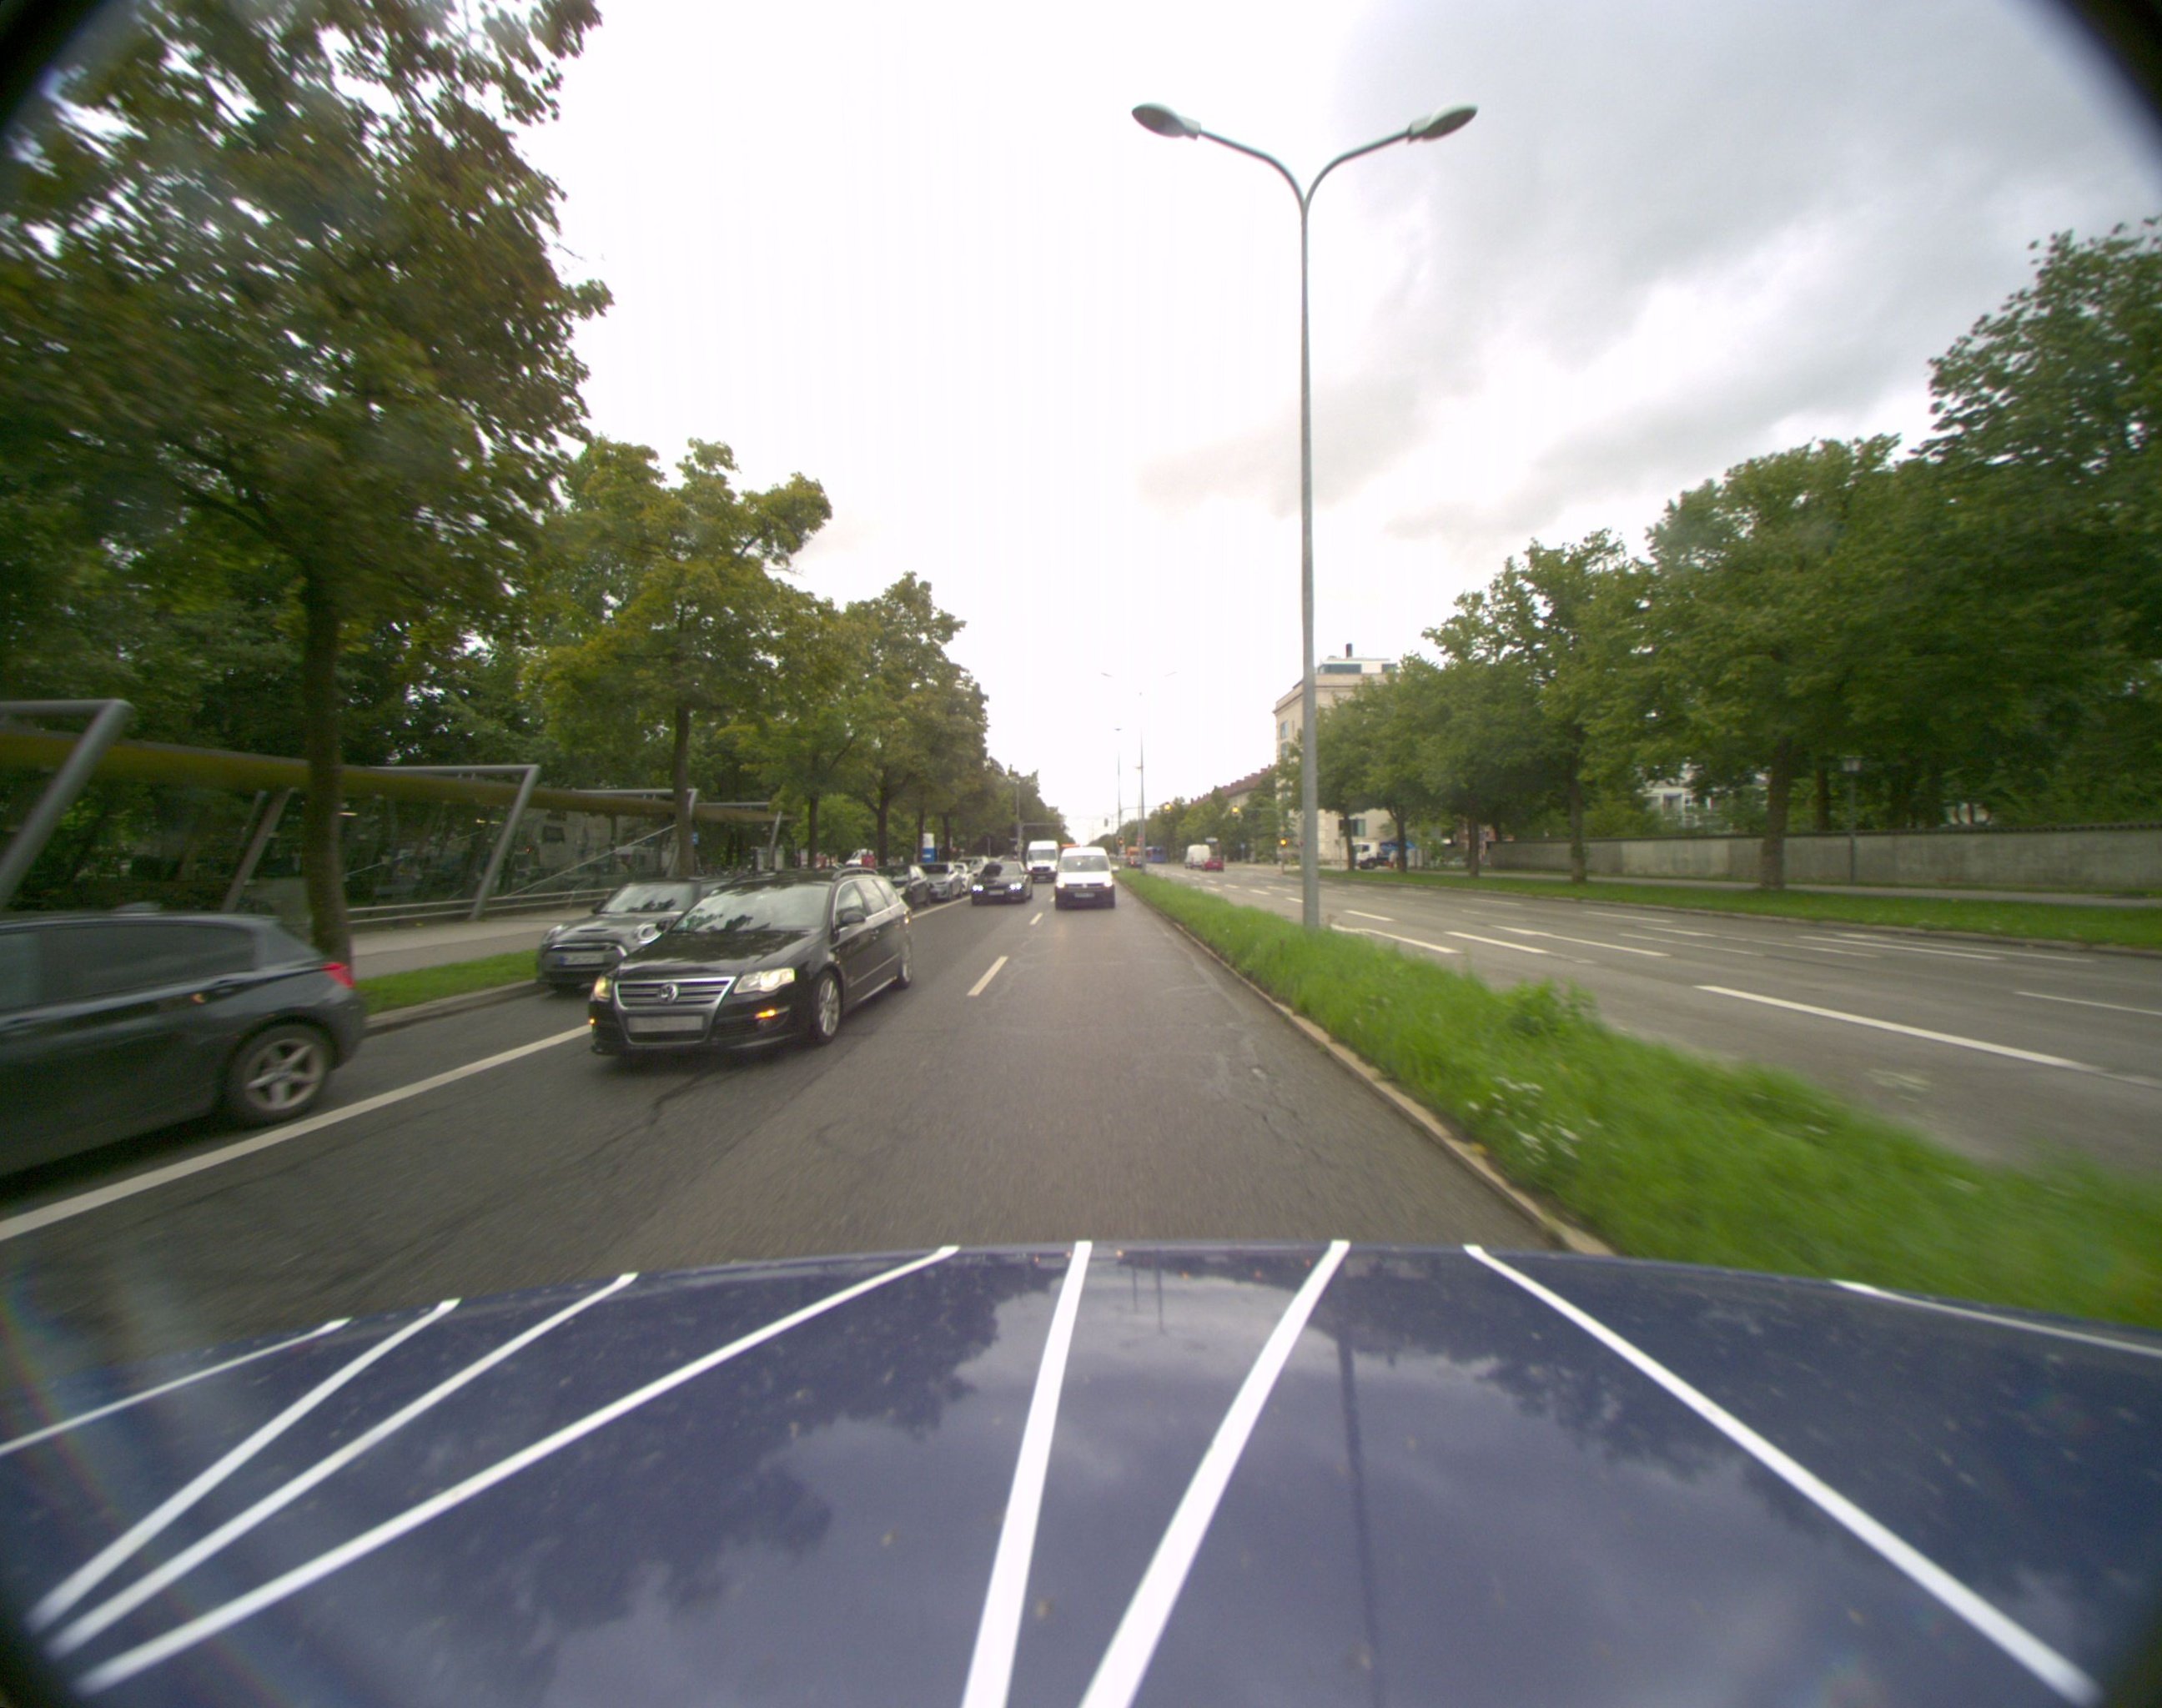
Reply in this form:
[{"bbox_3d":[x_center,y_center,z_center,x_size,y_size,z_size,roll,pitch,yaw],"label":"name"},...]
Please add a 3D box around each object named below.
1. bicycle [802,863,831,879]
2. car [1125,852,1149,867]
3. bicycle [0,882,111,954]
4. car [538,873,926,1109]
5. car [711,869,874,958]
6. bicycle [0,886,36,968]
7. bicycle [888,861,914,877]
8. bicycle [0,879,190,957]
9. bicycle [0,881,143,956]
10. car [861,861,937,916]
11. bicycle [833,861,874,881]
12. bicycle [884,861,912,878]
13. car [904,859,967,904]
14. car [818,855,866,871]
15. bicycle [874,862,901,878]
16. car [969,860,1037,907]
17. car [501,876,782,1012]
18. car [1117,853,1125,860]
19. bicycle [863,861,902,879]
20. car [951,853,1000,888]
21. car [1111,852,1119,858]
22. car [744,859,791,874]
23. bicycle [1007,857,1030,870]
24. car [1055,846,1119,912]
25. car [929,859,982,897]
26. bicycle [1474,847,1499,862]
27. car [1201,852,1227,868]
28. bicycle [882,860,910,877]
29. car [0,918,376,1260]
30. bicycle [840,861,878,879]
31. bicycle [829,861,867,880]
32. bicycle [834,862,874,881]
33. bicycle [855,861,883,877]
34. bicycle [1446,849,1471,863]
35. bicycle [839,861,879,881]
[{"bbox_3d":[-21.046,1.336,60.518,0.716,1.147,2.133,0,1,41],"label":"bicycle"},{"bbox_3d":[5.842,0.589,79.996,1.645,1.478,3.777,-1,0,-10],"label":"car"},{"bbox_3d":[-20.437,1.225,14.453,0.646,1.273,2.550,-1,0,1],"label":"bicycle"},{"bbox_3d":[-2.913,1.017,7.658,1.752,1.466,4.670,-2,0,-1],"label":"car"},{"bbox_3d":[-5.830,1.127,15.944,1.722,1.500,4.223,-1,0,1],"label":"car"},{"bbox_3d":[-18.368,1.191,11.938,2.551,1.273,0.492,-1,1,-14],"label":"bicycle"},{"bbox_3d":[-13.285,1.108,56.194,1.812,1.136,0.567,1,1,-10],"label":"bicycle"},{"bbox_3d":[-18.979,1.168,14.599,0.646,1.273,2.550,-1,0,1],"label":"bicycle"},{"bbox_3d":[-19.732,1.198,14.413,0.646,1.273,2.550,-1,0,1],"label":"bicycle"},{"bbox_3d":[-5.760,1.027,24.494,1.546,1.525,4.089,-2,0,-2],"label":"car"},{"bbox_3d":[-14.100,1.049,47.055,2.344,1.151,0.529,1,0,0],"label":"bicycle"},{"bbox_3d":[-13.177,1.108,54.724,1.809,1.136,0.568,1,1,10],"label":"bicycle"},{"bbox_3d":[-5.522,1.005,29.366,1.725,1.525,4.398,-1,0,-2],"label":"car"},{"bbox_3d":[-24.072,0.903,76.624,4.312,1.489,1.887,-1,0,-2],"label":"car"},{"bbox_3d":[-13.673,1.121,53.711,1.810,1.136,0.567,1,1,6],"label":"bicycle"},{"bbox_3d":[-2.698,0.986,27.299,1.819,1.421,4.671,-2,0,1],"label":"car"},{"bbox_3d":[-6.008,1.132,11.039,1.638,1.445,4.078,-1,0,1],"label":"car"},{"bbox_3d":[9.303,0.555,177.423,1.732,1.478,4.742,-1,0,0],"label":"car"},{"bbox_3d":[-13.052,1.061,50.019,2.344,1.151,0.585,1,0,0],"label":"bicycle"},{"bbox_3d":[-5.490,0.820,39.966,1.751,1.714,4.906,-2,0,1],"label":"car"},{"bbox_3d":[8.469,0.186,191.703,1.866,1.533,4.749,3,0,1],"label":"car"},{"bbox_3d":[-31.389,1.250,76.169,3.947,1.445,1.627,-1,1,-2],"label":"car"},{"bbox_3d":[-5.604,0.858,68.205,1.951,1.075,0.746,-1,1,-35],"label":"bicycle"},{"bbox_3d":[0.135,0.696,23.621,1.752,1.809,4.670,-1,0,-1],"label":"car"},{"bbox_3d":[-5.722,1.063,35.104,1.706,1.499,4.503,-3,0,-1],"label":"car"},{"bbox_3d":[34.466,0.039,64.633,0.837,1.179,2.496,-1,0,0],"label":"bicycle"},{"bbox_3d":[12.768,0.524,73.236,1.747,1.443,4.657,1,0,1],"label":"car"},{"bbox_3d":[-13.799,1.074,56.753,1.946,1.205,0.567,1,1,-10],"label":"bicycle"},{"bbox_3d":[-5.875,1.195,3.268,1.637,1.430,4.304,-1,0,0],"label":"car"},{"bbox_3d":[-14.908,1.086,51.080,2.344,1.151,0.585,1,0,0],"label":"bicycle"},{"bbox_3d":[-15.458,1.090,50.438,2.344,1.151,0.585,1,0,0],"label":"bicycle"},{"bbox_3d":[-14.211,1.096,47.607,2.344,1.151,0.529,1,0,0],"label":"bicycle"},{"bbox_3d":[-15.203,1.088,54.462,1.810,1.136,0.567,1,1,1],"label":"bicycle"},{"bbox_3d":[32.322,0.162,65.106,0.837,1.179,2.496,-1,0,0],"label":"bicycle"},{"bbox_3d":[-14.060,1.075,48.156,2.344,1.151,0.529,1,0,0],"label":"bicycle"}]
